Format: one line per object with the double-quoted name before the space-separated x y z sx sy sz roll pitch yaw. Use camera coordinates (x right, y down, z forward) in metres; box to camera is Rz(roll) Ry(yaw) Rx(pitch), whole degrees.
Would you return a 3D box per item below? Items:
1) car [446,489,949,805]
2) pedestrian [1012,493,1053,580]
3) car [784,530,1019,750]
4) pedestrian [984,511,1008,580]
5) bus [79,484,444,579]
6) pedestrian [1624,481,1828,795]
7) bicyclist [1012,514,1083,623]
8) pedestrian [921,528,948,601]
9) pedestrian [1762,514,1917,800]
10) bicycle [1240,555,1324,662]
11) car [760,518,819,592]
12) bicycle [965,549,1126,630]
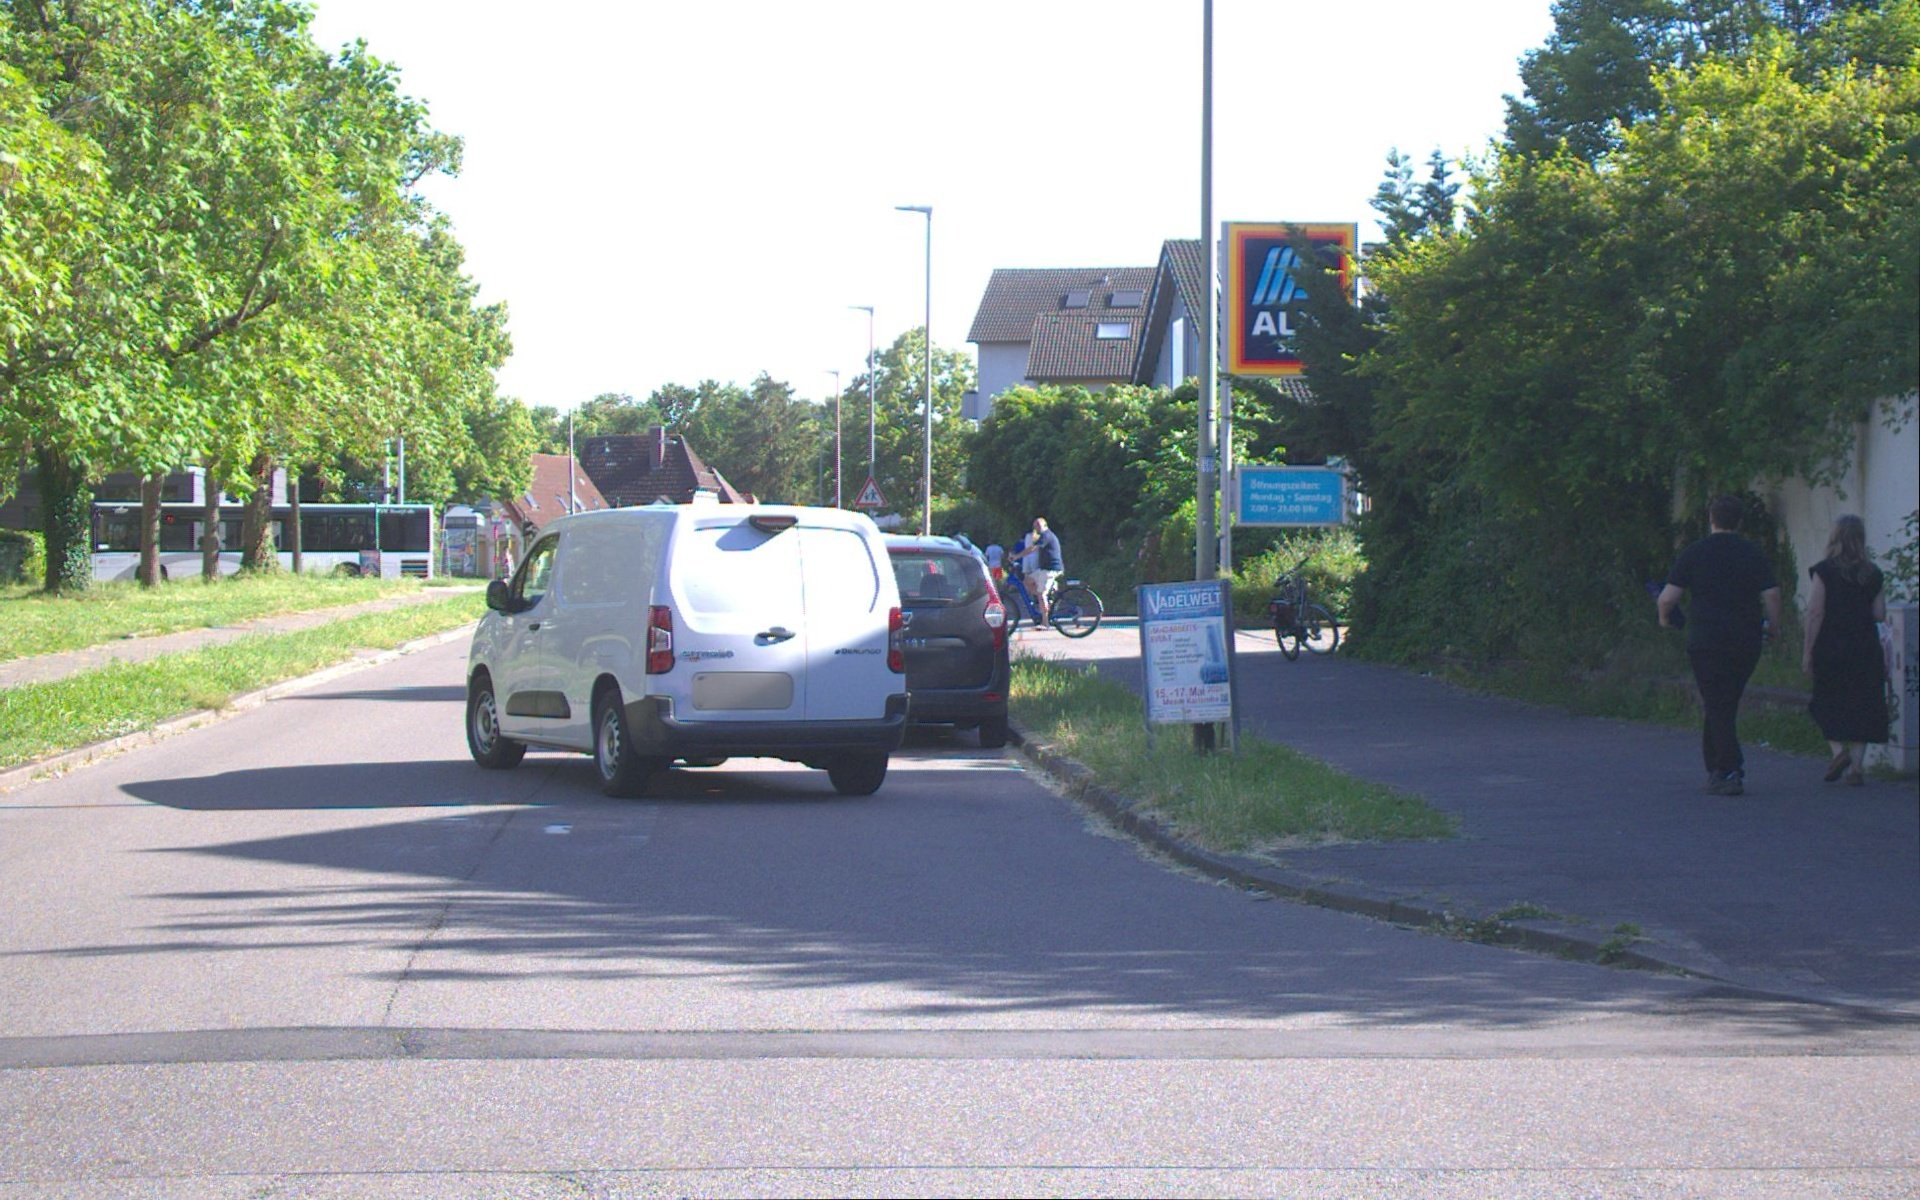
"car" -1.851 0.234 22.746 1.993 1.875 4.290 0 1 -24
"pedestrian" 1.486 -1.313 70.693 0.798 1.775 0.809 0 1 5
"car" -0.552 0.259 28.256 1.724 1.651 4.354 0 1 -4
"pedestrian" 0.847 -1.286 80.843 0.567 1.631 0.546 0 1 2
"bus" -21.412 -2.097 105.565 10.554 2.815 3.048 0 1 -25
"pedestrian" 4.337 0.210 19.520 0.803 1.711 0.984 -2 0 -7
"bicyclist" 1.287 -0.454 50.540 0.963 1.579 0.908 0 0 7
"pedestrian" -0.567 -0.790 76.987 0.567 1.631 0.546 0 1 2
"pedestrian" 5.076 0.324 19.864 0.573 1.604 0.792 -2 0 -7
"bicycle" 3.805 0.092 40.524 0.721 1.216 1.895 -2 0 13
"car" -6.214 -1.613 124.715 1.866 2.554 4.768 2 0 -5
"bicycle" 1.264 -0.155 50.562 2.273 1.135 0.789 -1 0 7
